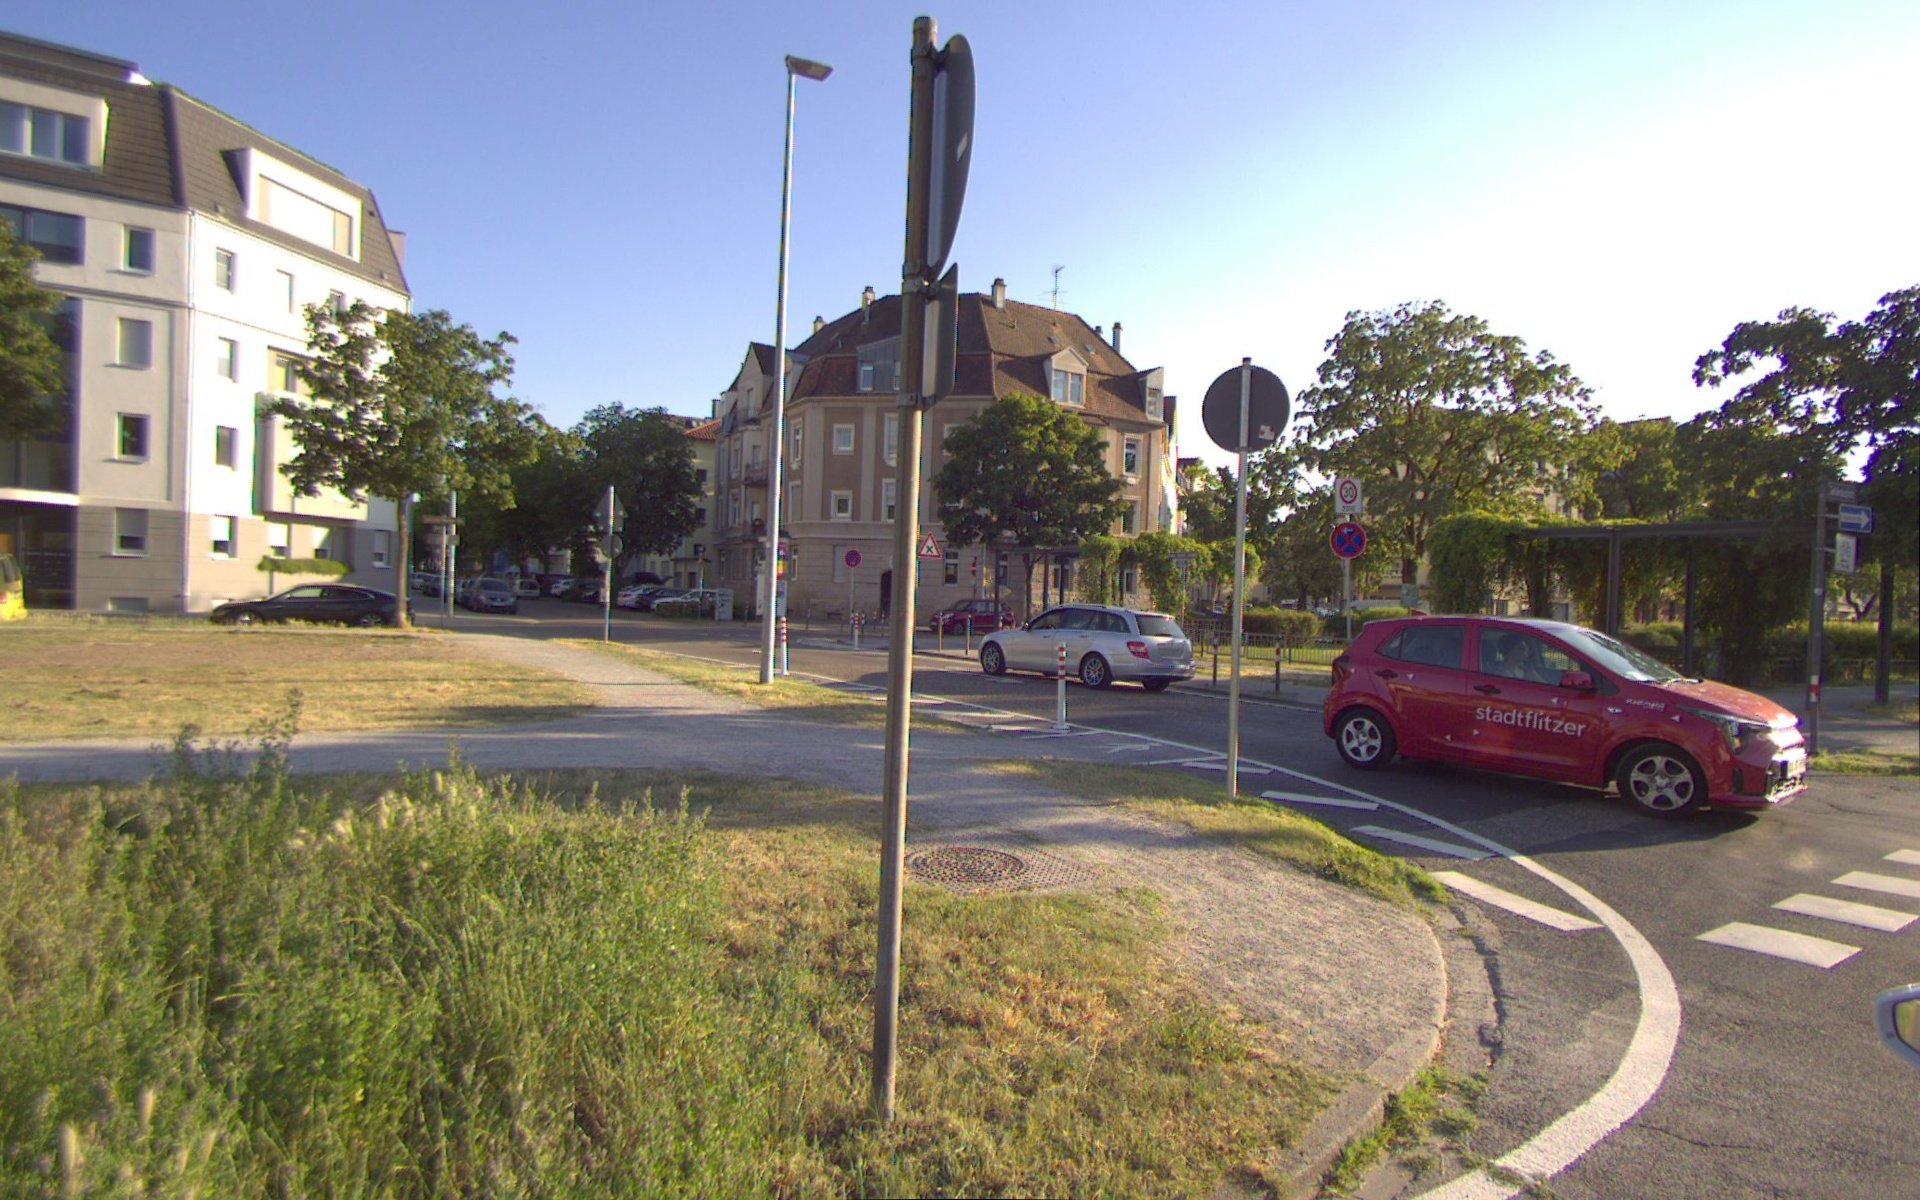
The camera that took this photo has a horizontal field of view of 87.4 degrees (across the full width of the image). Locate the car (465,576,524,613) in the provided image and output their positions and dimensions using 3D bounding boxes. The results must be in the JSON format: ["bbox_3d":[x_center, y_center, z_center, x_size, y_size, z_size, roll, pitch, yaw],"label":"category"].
[{"bbox_3d":[-21.733,-0.278,46.794,1.871,1.612,4.051,2,0,-34],"label":"car"}]

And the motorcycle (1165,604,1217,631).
[{"bbox_3d":[14.129,1.058,61.540,0.847,1.507,3.190,3,-1,-43],"label":"motorcycle"}]

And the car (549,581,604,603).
[{"bbox_3d":[-29.795,-0.619,77.975,3.702,1.579,1.709,1,1,-33],"label":"car"}]

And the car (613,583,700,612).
[{"bbox_3d":[-17.638,-0.132,58.392,4.450,1.546,1.933,0,2,-38],"label":"car"}]

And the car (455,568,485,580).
[{"bbox_3d":[-72.072,-3.852,147.809,3.813,1.502,1.790,2,1,-31],"label":"car"}]

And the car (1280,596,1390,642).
[{"bbox_3d":[25.212,1.251,67.609,6.569,2.781,2.313,2,0,30],"label":"car"}]

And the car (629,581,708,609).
[{"bbox_3d":[-18.579,-0.297,64.052,4.492,1.662,1.857,1,1,-33],"label":"car"}]

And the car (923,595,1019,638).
[{"bbox_3d":[0.527,0.779,46.237,4.040,1.764,1.797,2,2,-30],"label":"car"}]

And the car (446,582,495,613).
[{"bbox_3d":[-27.010,-0.156,55.352,1.871,1.612,4.051,2,0,-34],"label":"car"}]

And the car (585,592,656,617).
[{"bbox_3d":[-22.716,0.312,67.261,4.159,1.579,1.857,1,1,-33],"label":"car"}]

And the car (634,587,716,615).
[{"bbox_3d":[-15.899,0.052,56.168,4.111,1.467,1.658,1,1,-33],"label":"car"}]

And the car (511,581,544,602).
[{"bbox_3d":[-32.213,-0.631,74.755,1.801,1.492,4.184,2,0,-29],"label":"car"}]

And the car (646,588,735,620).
[{"bbox_3d":[-13.834,0.202,51.614,4.018,1.525,1.845,1,1,-33],"label":"car"}]

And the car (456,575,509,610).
[{"bbox_3d":[-24.444,-0.408,51.361,1.871,1.612,4.051,2,0,-34],"label":"car"}]

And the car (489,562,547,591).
[{"bbox_3d":[-49.221,-2.589,111.885,5.503,3.008,2.448,2,1,-34],"label":"car"}]

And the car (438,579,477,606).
[{"bbox_3d":[-29.571,-0.437,59.045,1.744,1.467,4.107,3,0,-31],"label":"car"}]

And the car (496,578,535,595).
[{"bbox_3d":[-48.131,-1.414,108.747,3.569,1.682,1.634,2,1,-34],"label":"car"}]

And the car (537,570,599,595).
[{"bbox_3d":[-33.400,-1.471,85.533,4.590,1.861,1.936,3,0,-32],"label":"car"}]

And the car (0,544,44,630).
[{"bbox_3d":[-25.004,-0.398,23.710,4.644,2.040,2.015,2,0,-33],"label":"car"}]

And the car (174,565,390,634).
[{"bbox_3d":[-18.564,0.011,27.812,4.785,1.691,1.773,2,0,-31],"label":"car"}]

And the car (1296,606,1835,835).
[{"bbox_3d":[5.136,0.868,8.956,1.754,1.546,3.734,2,-1,-36],"label":"car"}]

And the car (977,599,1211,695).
[{"bbox_3d":[2.326,0.776,18.358,1.807,1.492,4.170,2,0,-38],"label":"car"}]
